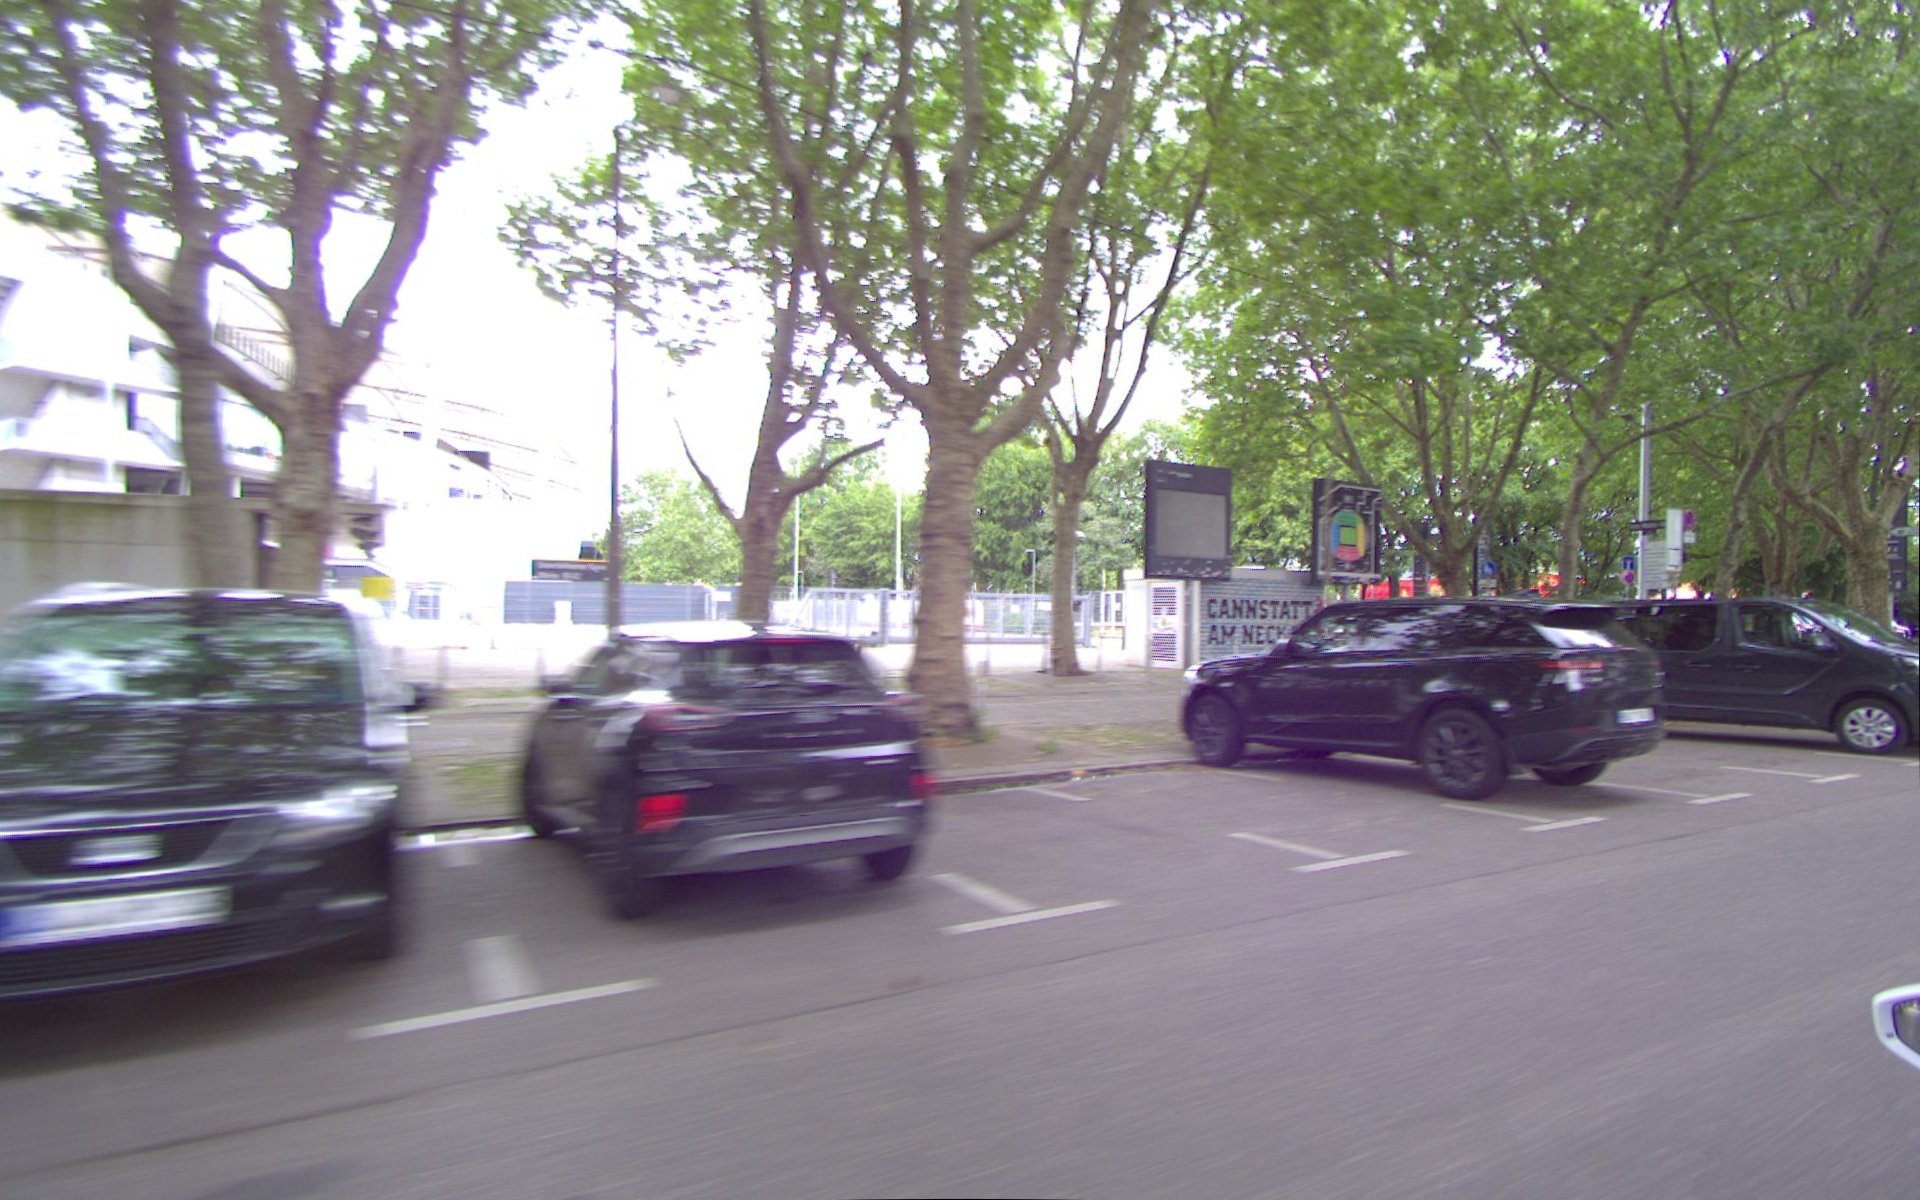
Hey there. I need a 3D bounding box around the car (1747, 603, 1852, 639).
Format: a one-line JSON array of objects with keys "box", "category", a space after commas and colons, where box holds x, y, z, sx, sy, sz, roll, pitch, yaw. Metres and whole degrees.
[{"box": [65.422, 1.596, 78.420, 1.976, 2.560, 5.973, 1, 0, -30], "category": "car"}]

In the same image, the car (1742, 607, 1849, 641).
[{"box": [63.522, 1.794, 76.512, 1.976, 2.349, 5.973, 1, 0, -30], "category": "car"}]

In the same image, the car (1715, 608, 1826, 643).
[{"box": [59.346, 1.824, 73.687, 1.976, 2.282, 5.973, 1, 0, -30], "category": "car"}]

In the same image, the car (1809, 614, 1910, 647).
[{"box": [75.560, 2.528, 84.469, 1.976, 2.560, 5.973, 1, 0, -30], "category": "car"}]

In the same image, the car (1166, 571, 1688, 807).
[{"box": [4.415, 0.823, 10.333, 1.786, 1.844, 4.628, 1, -3, -32], "category": "car"}]

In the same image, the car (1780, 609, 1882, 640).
[{"box": [71.366, 1.990, 82.430, 1.976, 2.361, 5.973, 1, 0, -30], "category": "car"}]

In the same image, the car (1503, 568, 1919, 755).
[{"box": [10.780, 0.797, 13.996, 1.918, 2.156, 5.409, 0, -2, -31], "category": "car"}]

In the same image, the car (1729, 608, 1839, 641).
[{"box": [61.388, 1.805, 74.965, 1.976, 2.282, 5.973, 1, 0, -30], "category": "car"}]

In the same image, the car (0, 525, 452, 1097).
[{"box": [-3.763, 0.752, 5.392, 1.775, 1.805, 4.562, 0, -2, -28], "category": "car"}]

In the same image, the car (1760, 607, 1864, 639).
[{"box": [67.295, 1.785, 79.473, 1.976, 2.270, 5.973, 1, 0, -30], "category": "car"}]

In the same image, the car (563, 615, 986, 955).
[{"box": [-1.501, 0.921, 6.636, 1.731, 1.513, 3.884, 1, -3, -27], "category": "car"}]
